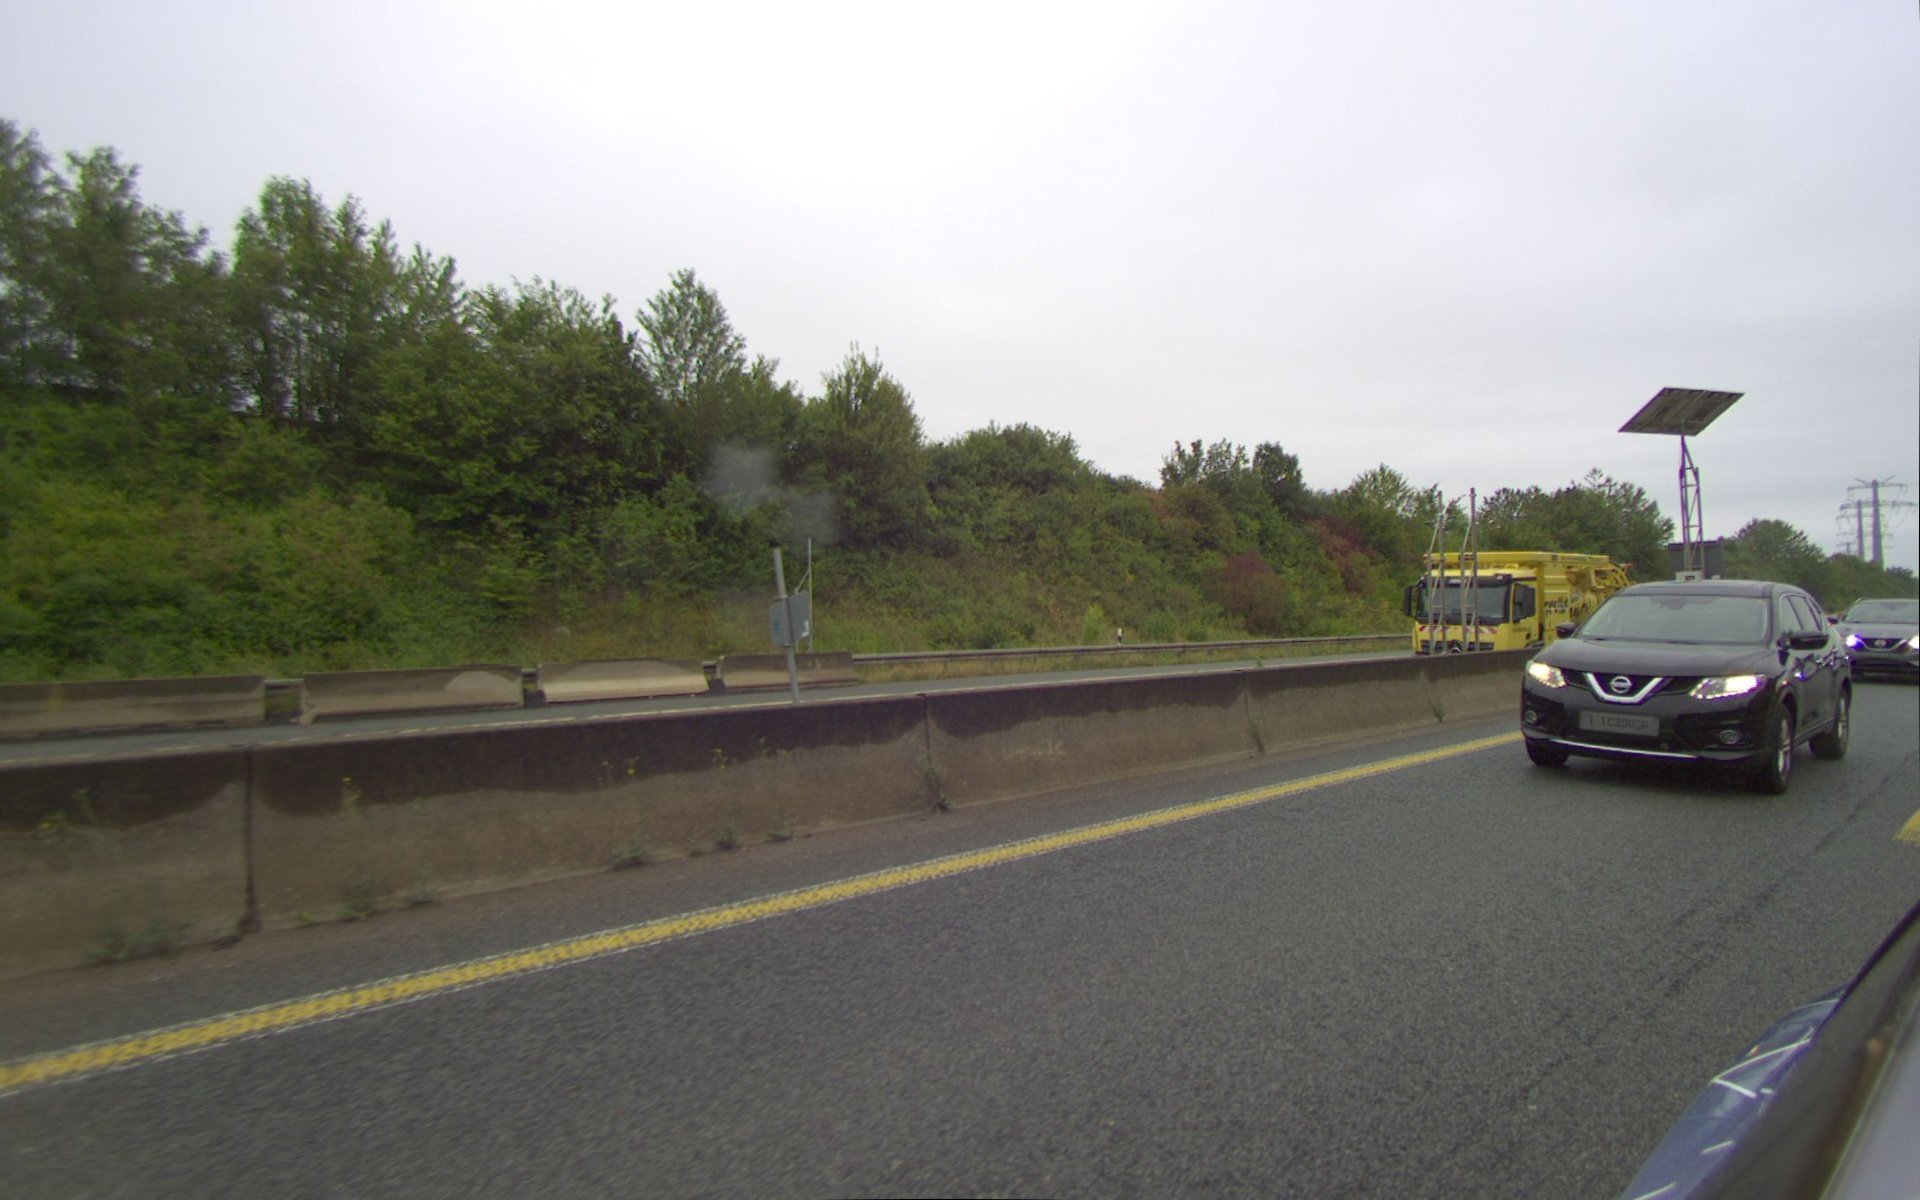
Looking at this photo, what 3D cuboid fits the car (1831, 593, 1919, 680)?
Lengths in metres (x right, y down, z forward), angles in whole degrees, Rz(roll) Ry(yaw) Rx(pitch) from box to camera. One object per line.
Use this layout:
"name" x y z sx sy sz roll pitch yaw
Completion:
"car" 18.193 0.638 19.393 4.053 1.509 1.782 -1 1 -42

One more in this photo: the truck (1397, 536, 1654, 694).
"truck" 14.865 0.278 26.147 9.405 3.467 2.618 -1 1 -40

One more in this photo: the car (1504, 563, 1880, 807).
"car" 6.860 0.564 9.275 4.561 1.696 1.892 -1 1 -42
